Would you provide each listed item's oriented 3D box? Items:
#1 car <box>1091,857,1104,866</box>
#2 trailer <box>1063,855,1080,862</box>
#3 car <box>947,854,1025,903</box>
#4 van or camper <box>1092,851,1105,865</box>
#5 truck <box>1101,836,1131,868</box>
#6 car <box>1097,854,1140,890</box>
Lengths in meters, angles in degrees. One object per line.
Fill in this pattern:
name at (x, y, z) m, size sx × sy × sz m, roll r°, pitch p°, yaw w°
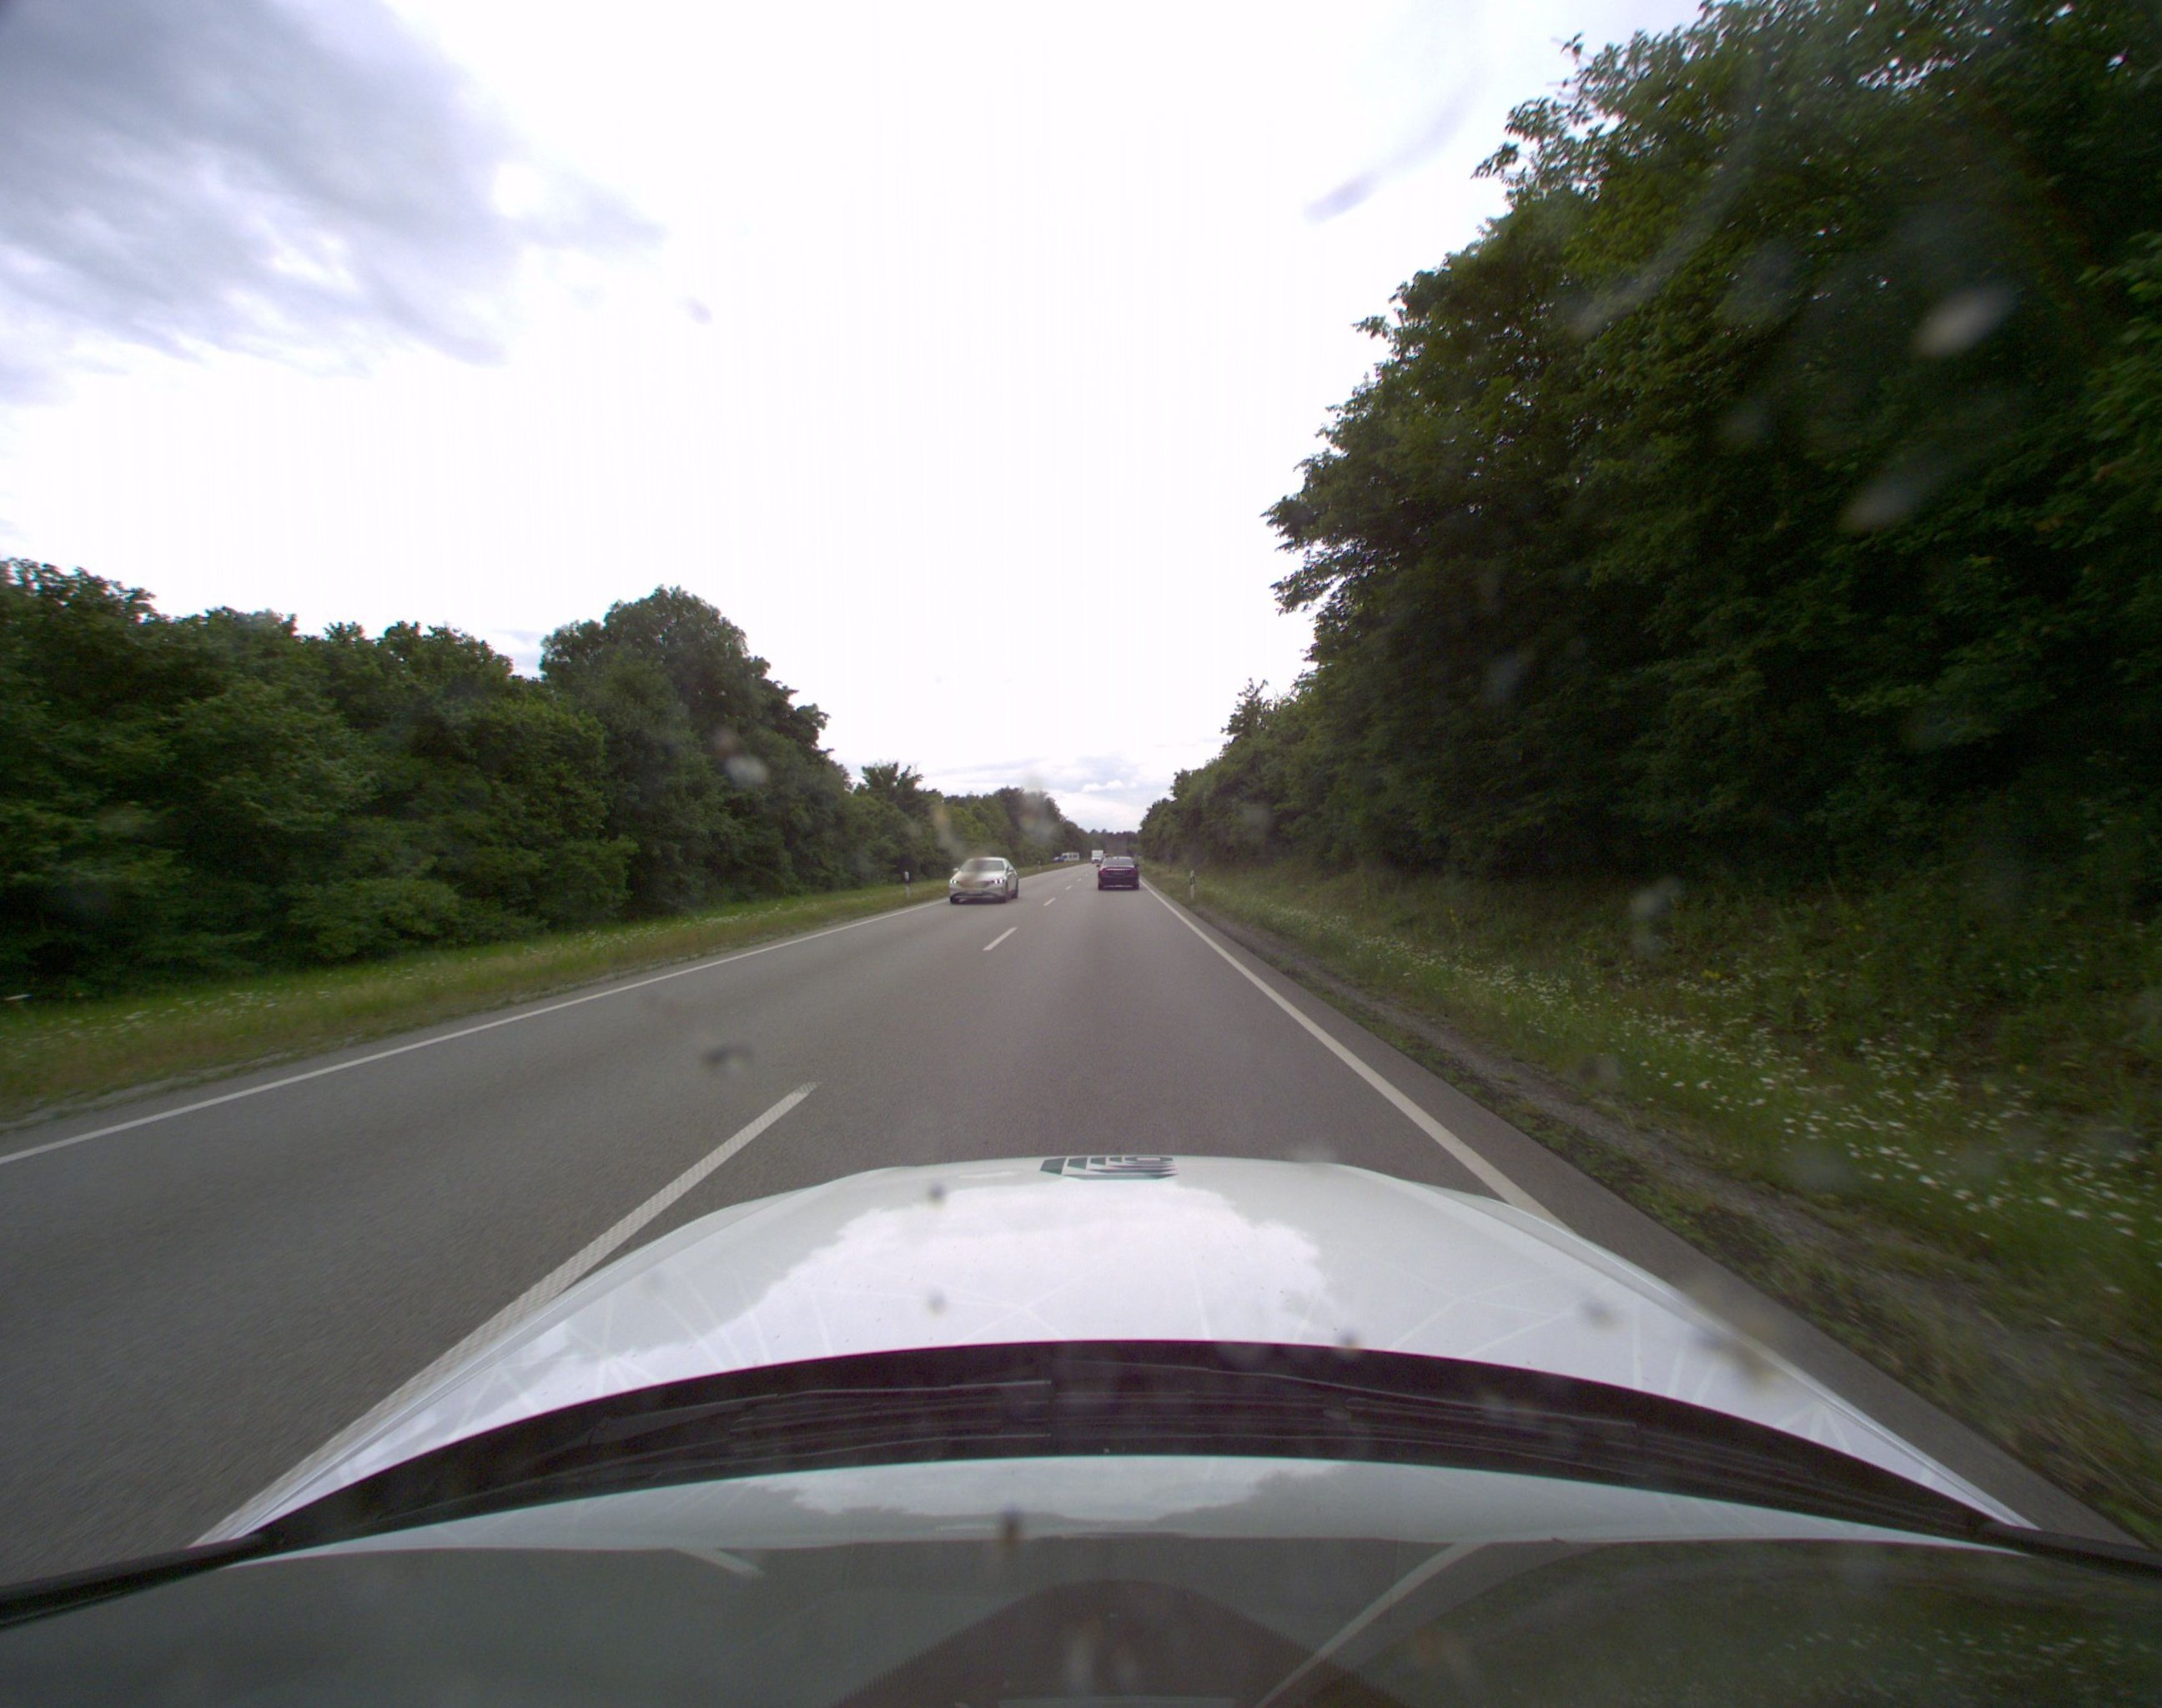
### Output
car at (3.060, 1.342, 152.456) m, size 2.270 × 1.603 × 4.694 m, roll 0°, pitch 0°, yaw 2°
trailer at (-2.510, 1.318, 225.045) m, size 1.974 × 2.014 × 5.155 m, roll -1°, pitch -1°, yaw 36°
car at (-3.244, 0.807, 29.008) m, size 1.956 × 1.574 × 5.454 m, roll 0°, pitch 0°, yaw 2°
van or camper at (3.374, 0.799, 158.210) m, size 2.370 × 2.575 × 6.283 m, roll 0°, pitch 0°, yaw 2°
truck at (4.406, -0.205, 99.387) m, size 3.266 × 3.611 × 11.412 m, roll 0°, pitch 0°, yaw 4°
car at (1.670, 0.779, 37.223) m, size 1.785 × 1.552 × 3.999 m, roll 0°, pitch 0°, yaw 0°
